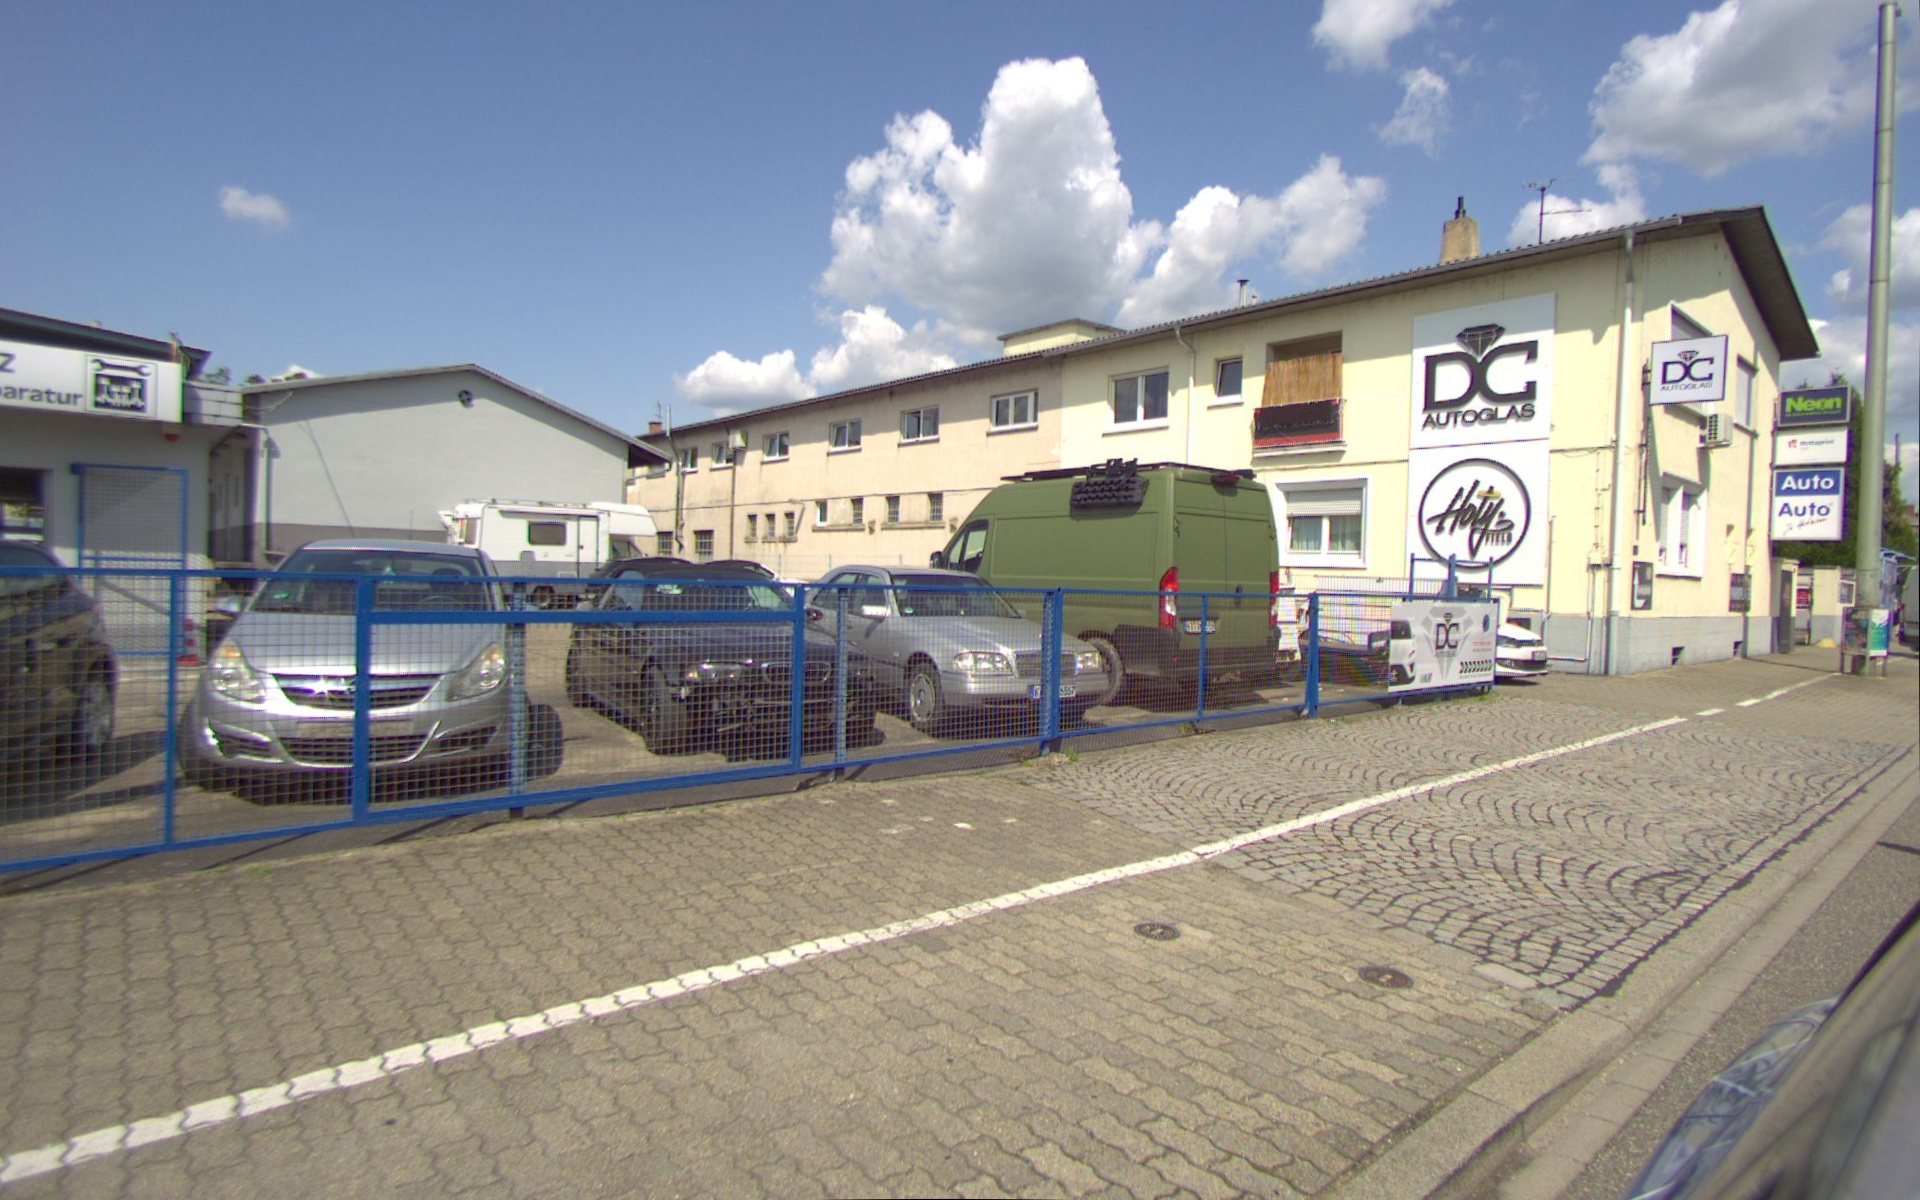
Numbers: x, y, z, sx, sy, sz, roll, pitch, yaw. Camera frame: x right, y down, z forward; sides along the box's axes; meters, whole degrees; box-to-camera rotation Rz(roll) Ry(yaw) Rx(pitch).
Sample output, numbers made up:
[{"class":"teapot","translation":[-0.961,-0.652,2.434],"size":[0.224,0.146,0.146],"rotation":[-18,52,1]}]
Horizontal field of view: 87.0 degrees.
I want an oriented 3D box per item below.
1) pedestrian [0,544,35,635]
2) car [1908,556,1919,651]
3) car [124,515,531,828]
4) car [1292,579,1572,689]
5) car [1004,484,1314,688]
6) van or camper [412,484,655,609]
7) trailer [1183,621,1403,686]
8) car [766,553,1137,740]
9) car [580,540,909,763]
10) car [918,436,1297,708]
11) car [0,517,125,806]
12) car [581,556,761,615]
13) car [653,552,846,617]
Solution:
[{"class":"pedestrian","translation":[-13.156,-0.156,13.876],"size":[0.652,1.224,0.566],"rotation":[1,1,-39]},{"class":"car","translation":[27.674,0.286,24.911],"size":[5.778,2.493,2.076],"rotation":[4,3,24]},{"class":"car","translation":[-3.893,0.280,6.835],"size":[1.736,1.470,3.778],"rotation":[1,2,-24]},{"class":"car","translation":[7.458,0.451,16.273],"size":[1.527,1.481,3.775],"rotation":[1,2,-39]},{"class":"car","translation":[2.616,-0.247,14.211],"size":[1.557,2.436,4.208],"rotation":[1,2,-39]},{"class":"van or camper","translation":[-11.298,-1.323,27.105],"size":[5.556,3.002,2.272],"rotation":[0,2,-42]},{"class":"trailer","translation":[4.755,0.724,14.645],"size":[1.307,0.674,2.730],"rotation":[0,2,-42]},{"class":"car","translation":[-0.333,0.286,10.197],"size":[1.679,1.470,4.292],"rotation":[1,2,-33]},{"class":"car","translation":[-2.123,0.273,8.891],"size":[1.737,1.470,4.128],"rotation":[1,2,-28]},{"class":"car","translation":[1.593,-0.350,12.250],"size":[2.075,2.675,4.208],"rotation":[1,2,-39]},{"class":"car","translation":[-5.632,0.304,4.863],"size":[1.606,1.470,3.700],"rotation":[1,2,-25]},{"class":"car","translation":[-7.301,-0.358,25.805],"size":[4.112,1.378,1.645],"rotation":[0,2,-41]},{"class":"car","translation":[-4.839,-0.348,23.542],"size":[4.112,1.378,1.645],"rotation":[0,2,-41]}]
